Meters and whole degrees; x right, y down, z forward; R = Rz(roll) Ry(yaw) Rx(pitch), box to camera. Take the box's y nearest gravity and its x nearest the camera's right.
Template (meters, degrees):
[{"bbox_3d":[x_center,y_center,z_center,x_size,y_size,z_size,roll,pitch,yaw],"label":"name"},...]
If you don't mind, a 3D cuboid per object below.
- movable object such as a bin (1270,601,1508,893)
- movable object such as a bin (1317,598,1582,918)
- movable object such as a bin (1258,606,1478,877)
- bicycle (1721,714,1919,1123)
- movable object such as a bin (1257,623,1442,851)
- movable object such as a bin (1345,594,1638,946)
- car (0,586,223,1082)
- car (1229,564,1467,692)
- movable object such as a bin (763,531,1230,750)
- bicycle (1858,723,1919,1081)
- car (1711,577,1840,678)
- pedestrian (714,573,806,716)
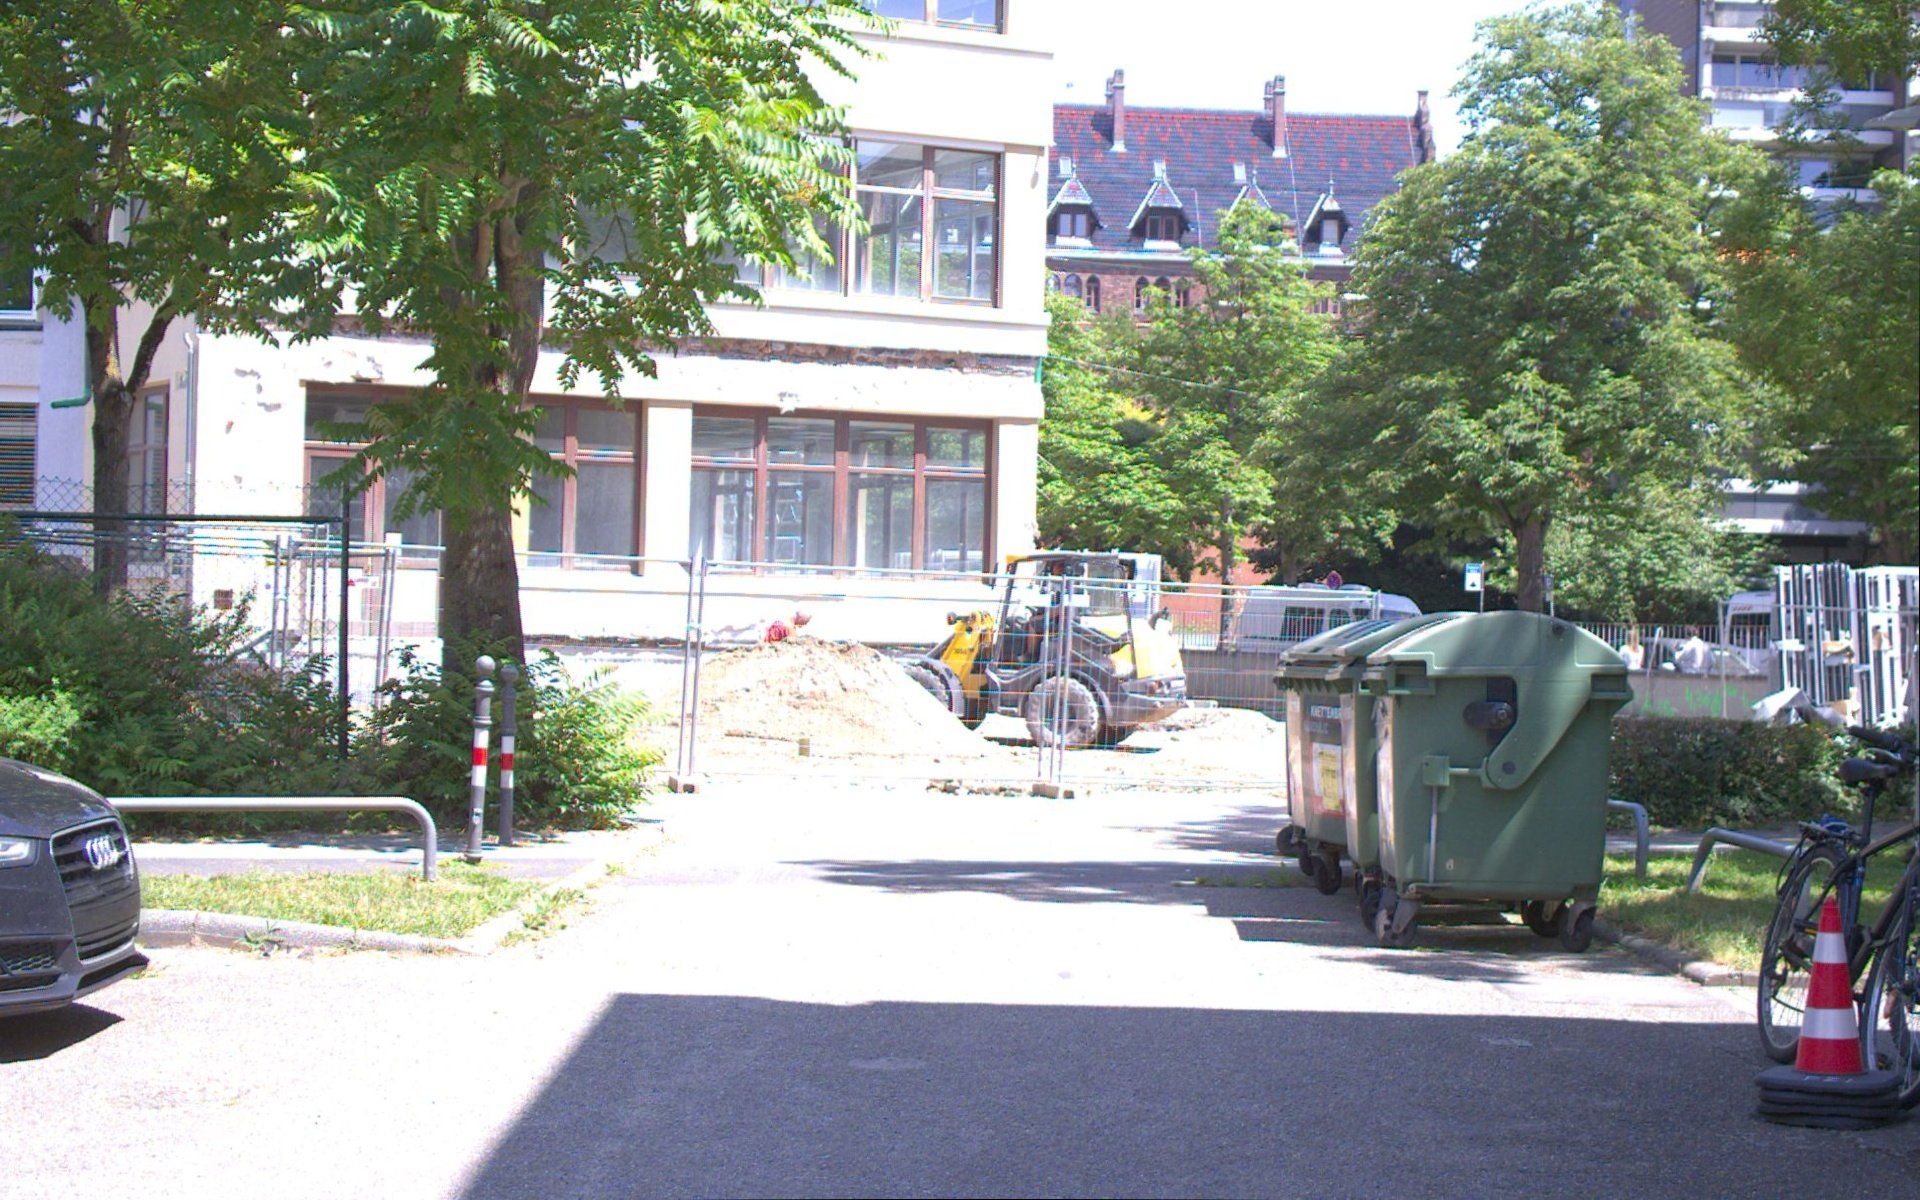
[{"bbox_3d":[2.232,0.749,18.068,1.075,1.453,1.377,1,-1,1],"label":"movable object such as a bin"},{"bbox_3d":[2.337,0.736,16.595,1.075,1.453,1.377,1,-1,1],"label":"movable object such as a bin"},{"bbox_3d":[2.292,0.780,19.489,1.075,1.453,1.377,1,-1,1],"label":"movable object such as a bin"},{"bbox_3d":[2.742,0.922,10.520,0.405,1.098,1.826,1,-1,0],"label":"bicycle"},{"bbox_3d":[2.588,0.897,22.993,1.075,1.453,1.377,1,-1,1],"label":"movable object such as a bin"},{"bbox_3d":[2.313,0.721,15.152,1.075,1.453,1.377,1,-1,1],"label":"movable object such as a bin"},{"bbox_3d":[-4.748,0.611,10.647,4.429,1.375,2.023,1,-1,2],"label":"car"},{"bbox_3d":[7.633,0.533,68.207,1.993,2.408,5.244,2,-1,-29],"label":"car"},{"bbox_3d":[0.450,0.493,44.059,5.412,2.456,2.364,3,0,29],"label":"movable object such as a bin"},{"bbox_3d":[3.210,0.956,10.568,0.405,1.098,1.826,1,-1,0],"label":"bicycle"},{"bbox_3d":[19.026,0.657,80.069,2.187,2.250,4.863,1,-1,22],"label":"car"},{"bbox_3d":[-2.627,0.580,45.141,0.914,1.840,0.986,2,-1,-21],"label":"pedestrian"}]
